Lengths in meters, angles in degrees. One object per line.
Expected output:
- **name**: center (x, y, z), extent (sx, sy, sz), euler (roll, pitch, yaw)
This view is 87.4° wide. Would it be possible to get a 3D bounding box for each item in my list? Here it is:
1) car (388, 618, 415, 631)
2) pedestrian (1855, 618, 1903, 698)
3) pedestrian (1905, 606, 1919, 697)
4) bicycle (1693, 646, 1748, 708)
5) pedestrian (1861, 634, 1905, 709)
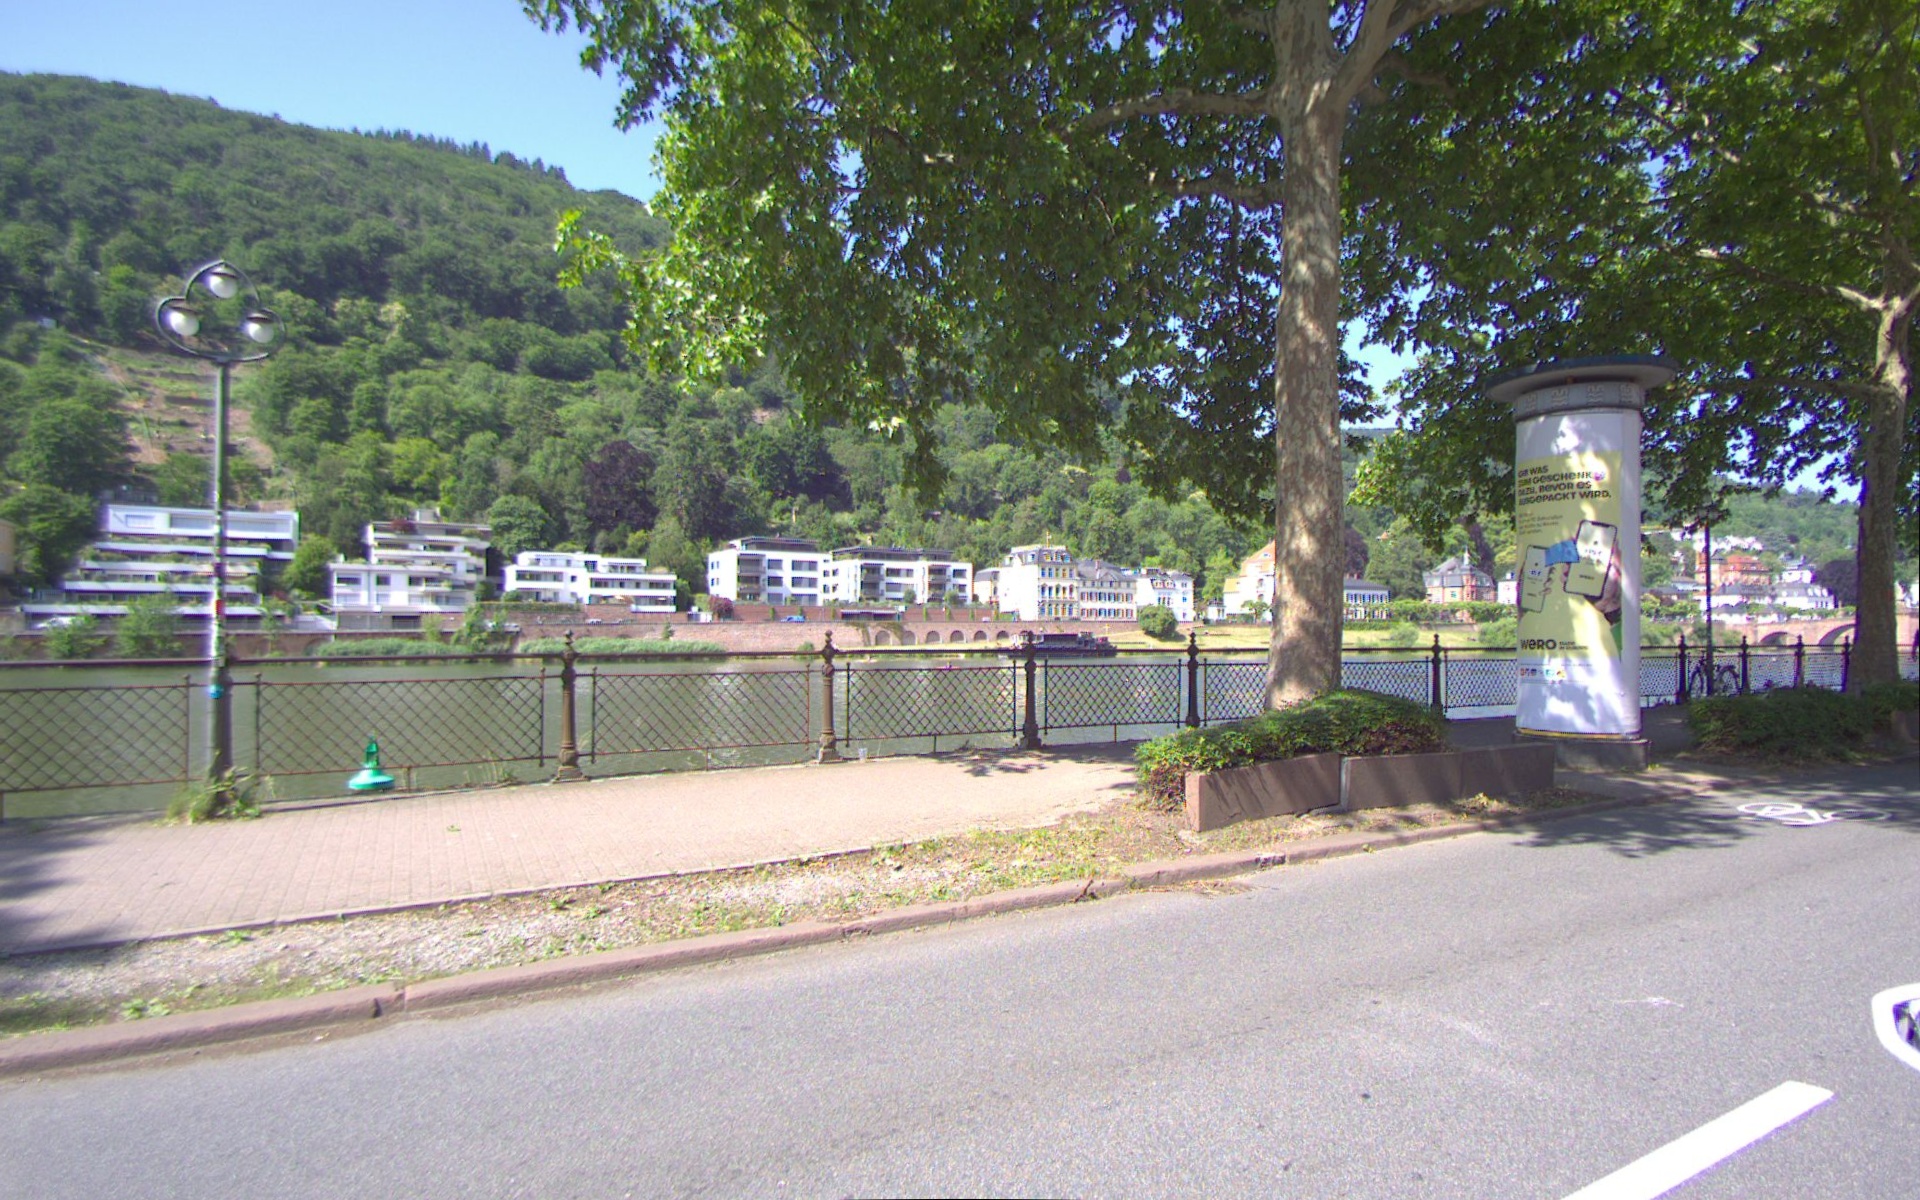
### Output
- **car**: center (-94.753, 4.185, 170.492), extent (3.953, 2.041, 1.984), euler (0, 1, -30)
- **pedestrian**: center (19.912, 1.247, 21.771), extent (0.577, 1.708, 0.598), euler (1, -2, -31)
- **pedestrian**: center (20.477, 1.101, 21.278), extent (0.431, 1.912, 0.531), euler (1, 1, -30)
- **bicycle**: center (14.358, 1.437, 18.959), extent (1.281, 1.106, 0.357), euler (1, 2, -31)
- **pedestrian**: center (17.466, 1.339, 19.007), extent (0.411, 1.381, 0.477), euler (1, 1, -26)
